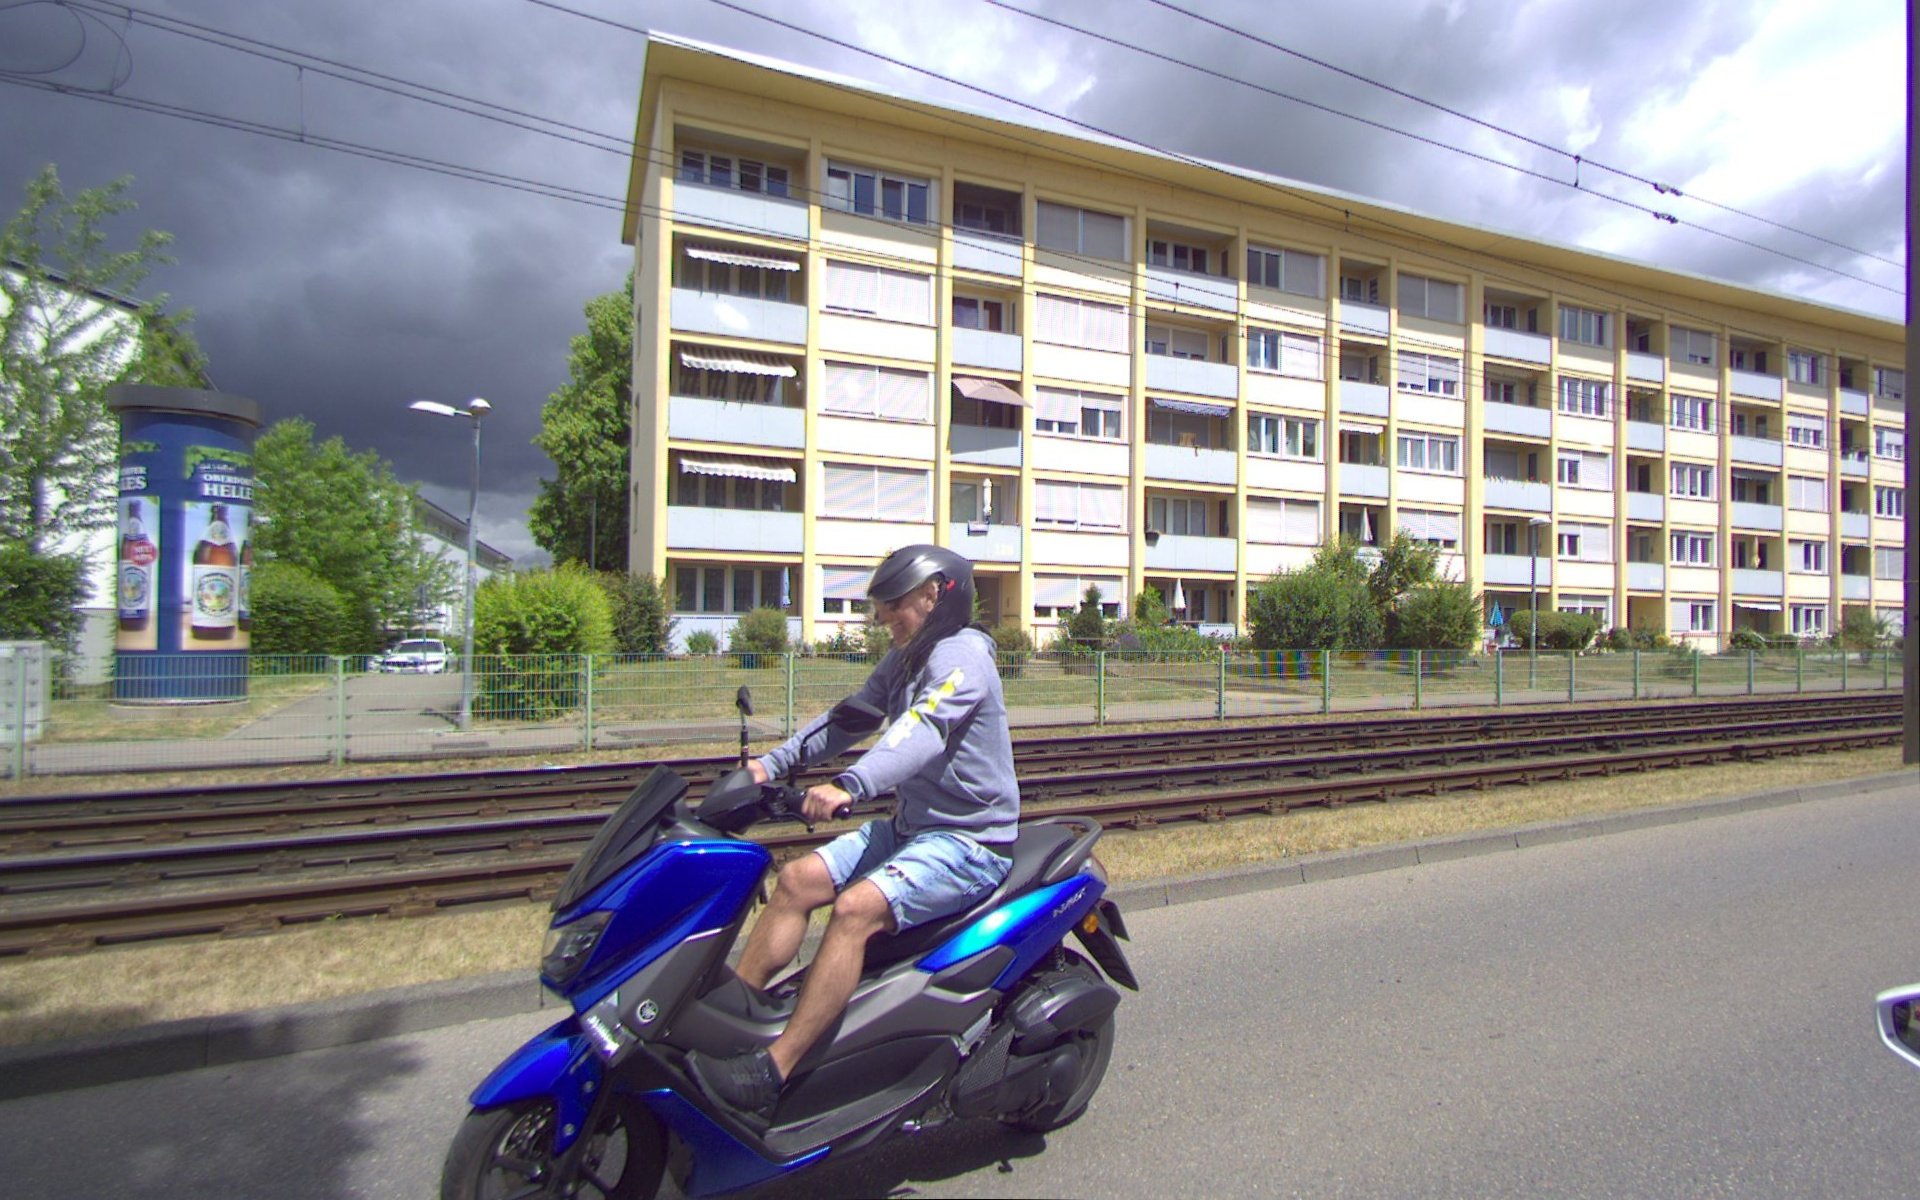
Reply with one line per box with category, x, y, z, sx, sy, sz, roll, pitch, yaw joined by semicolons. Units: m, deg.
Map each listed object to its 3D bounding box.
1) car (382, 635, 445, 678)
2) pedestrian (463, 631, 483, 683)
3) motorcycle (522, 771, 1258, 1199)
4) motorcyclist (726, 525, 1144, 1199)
car;-17.337;1.761;31.806;1.599;1.217;3.282;1;-1;-31
pedestrian;-16.020;1.863;33.061;0.551;1.702;0.610;0;-1;-24
motorcycle;-0.140;1.061;2.667;1.810;0.967;0.743;1;0;-30
motorcyclist;-0.087;0.594;2.683;0.877;1.486;0.743;1;-1;-30
